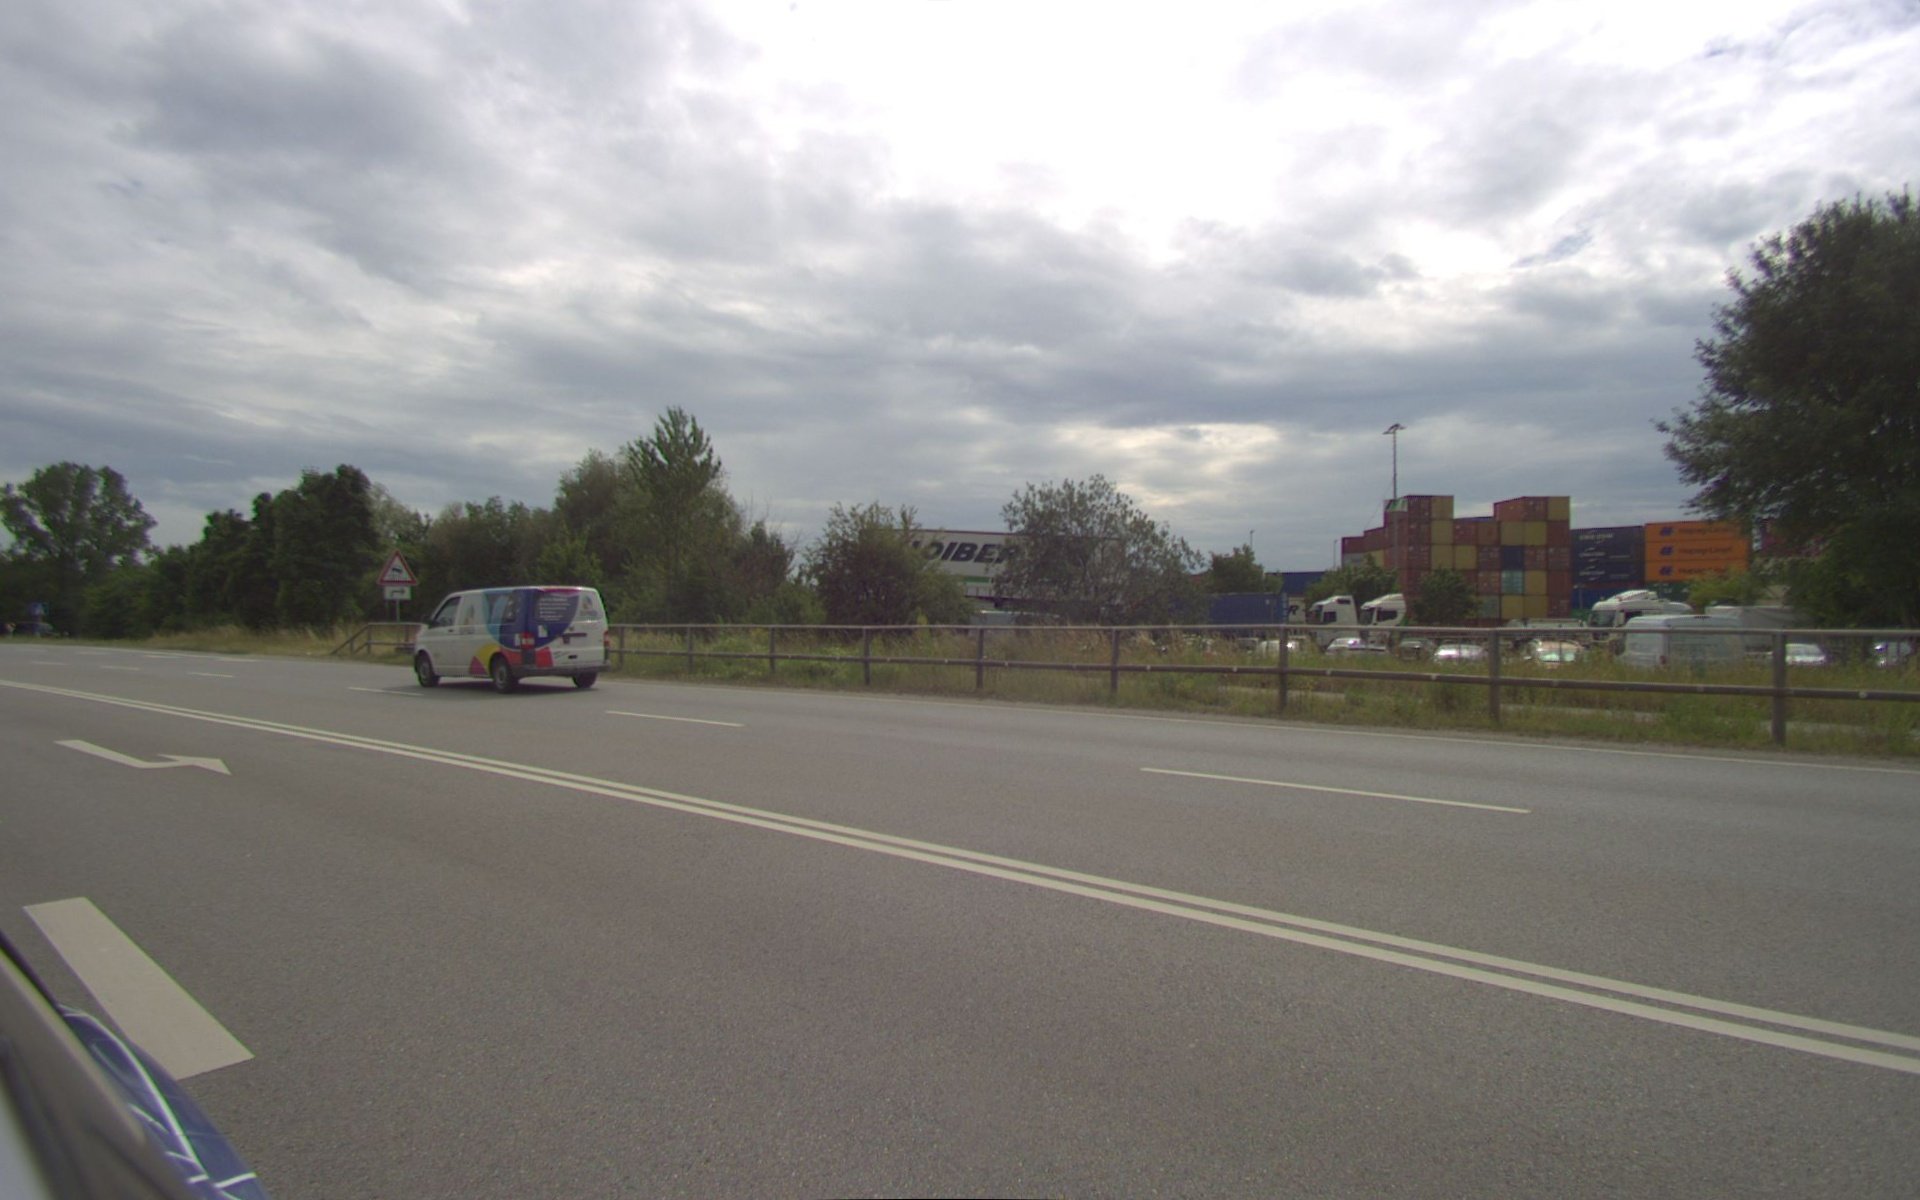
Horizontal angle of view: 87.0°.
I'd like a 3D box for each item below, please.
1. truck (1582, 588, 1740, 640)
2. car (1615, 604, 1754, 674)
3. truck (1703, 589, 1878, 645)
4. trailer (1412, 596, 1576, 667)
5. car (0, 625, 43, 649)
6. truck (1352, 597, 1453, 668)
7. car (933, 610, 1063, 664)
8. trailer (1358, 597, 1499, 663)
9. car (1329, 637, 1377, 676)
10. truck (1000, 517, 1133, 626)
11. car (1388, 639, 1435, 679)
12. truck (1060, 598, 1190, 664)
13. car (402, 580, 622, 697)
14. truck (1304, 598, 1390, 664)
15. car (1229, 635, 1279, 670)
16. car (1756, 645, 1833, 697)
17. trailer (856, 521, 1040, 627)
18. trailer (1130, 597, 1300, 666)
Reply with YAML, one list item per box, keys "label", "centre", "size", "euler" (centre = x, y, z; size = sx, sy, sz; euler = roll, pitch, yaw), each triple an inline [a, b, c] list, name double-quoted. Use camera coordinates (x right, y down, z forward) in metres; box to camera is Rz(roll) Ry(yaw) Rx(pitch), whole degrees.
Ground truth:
- label: "truck"
  centre: [38.137, 0.757, 55.261]
  size: [6.569, 2.703, 2.650]
  euler: [-1, -1, 4]
- label: "car"
  centre: [20.393, 1.036, 28.714]
  size: [1.985, 1.747, 4.554]
  euler: [-1, 0, 20]
- label: "truck"
  centre: [42.267, 0.862, 51.678]
  size: [6.565, 2.703, 2.652]
  euler: [-1, -1, 2]
- label: "trailer"
  centre: [33.968, 1.999, 64.488]
  size: [9.242, 4.325, 2.199]
  euler: [-1, -1, -1]
- label: "car"
  centre: [-74.854, 2.932, 80.417]
  size: [1.965, 1.811, 4.333]
  euler: [0, -1, -28]
- label: "truck"
  centre: [28.061, 2.046, 64.344]
  size: [5.352, 4.325, 2.199]
  euler: [-1, -1, -2]
- label: "car"
  centre: [1.440, 1.369, 38.450]
  size: [4.467, 1.890, 2.007]
  euler: [-1, -1, -25]
- label: "trailer"
  centre: [31.491, 2.002, 68.181]
  size: [8.377, 4.325, 2.199]
  euler: [-1, -1, -1]
- label: "car"
  centre: [19.700, 2.788, 50.640]
  size: [1.835, 1.732, 3.963]
  euler: [-1, -1, 27]
- label: "truck"
  centre: [5.268, -1.311, 49.630]
  size: [6.132, 5.034, 2.791]
  euler: [-1, 0, 15]
- label: "car"
  centre: [21.684, 2.786, 48.523]
  size: [1.835, 1.732, 3.963]
  euler: [-1, -1, 27]
- label: "truck"
  centre: [11.351, 2.134, 69.800]
  size: [8.281, 4.325, 3.211]
  euler: [-1, -1, 29]
- label: "car"
  centre: [-8.863, 0.718, 19.855]
  size: [4.660, 2.029, 1.975]
  euler: [-1, -1, 38]
- label: "truck"
  centre: [25.968, 2.046, 68.032]
  size: [4.784, 4.325, 2.199]
  euler: [-1, -1, -2]
- label: "car"
  centre: [15.877, 2.797, 54.549]
  size: [1.835, 1.732, 3.963]
  euler: [-1, -1, 27]
- label: "car"
  centre: [31.979, 2.677, 38.879]
  size: [1.839, 1.732, 3.954]
  euler: [-1, -1, 34]
- label: "trailer"
  centre: [-0.593, -1.214, 51.206]
  size: [8.900, 5.034, 2.794]
  euler: [-1, 0, 15]
- label: "trailer"
  centre: [16.737, 2.076, 66.821]
  size: [10.358, 4.325, 3.211]
  euler: [-1, -1, 29]
